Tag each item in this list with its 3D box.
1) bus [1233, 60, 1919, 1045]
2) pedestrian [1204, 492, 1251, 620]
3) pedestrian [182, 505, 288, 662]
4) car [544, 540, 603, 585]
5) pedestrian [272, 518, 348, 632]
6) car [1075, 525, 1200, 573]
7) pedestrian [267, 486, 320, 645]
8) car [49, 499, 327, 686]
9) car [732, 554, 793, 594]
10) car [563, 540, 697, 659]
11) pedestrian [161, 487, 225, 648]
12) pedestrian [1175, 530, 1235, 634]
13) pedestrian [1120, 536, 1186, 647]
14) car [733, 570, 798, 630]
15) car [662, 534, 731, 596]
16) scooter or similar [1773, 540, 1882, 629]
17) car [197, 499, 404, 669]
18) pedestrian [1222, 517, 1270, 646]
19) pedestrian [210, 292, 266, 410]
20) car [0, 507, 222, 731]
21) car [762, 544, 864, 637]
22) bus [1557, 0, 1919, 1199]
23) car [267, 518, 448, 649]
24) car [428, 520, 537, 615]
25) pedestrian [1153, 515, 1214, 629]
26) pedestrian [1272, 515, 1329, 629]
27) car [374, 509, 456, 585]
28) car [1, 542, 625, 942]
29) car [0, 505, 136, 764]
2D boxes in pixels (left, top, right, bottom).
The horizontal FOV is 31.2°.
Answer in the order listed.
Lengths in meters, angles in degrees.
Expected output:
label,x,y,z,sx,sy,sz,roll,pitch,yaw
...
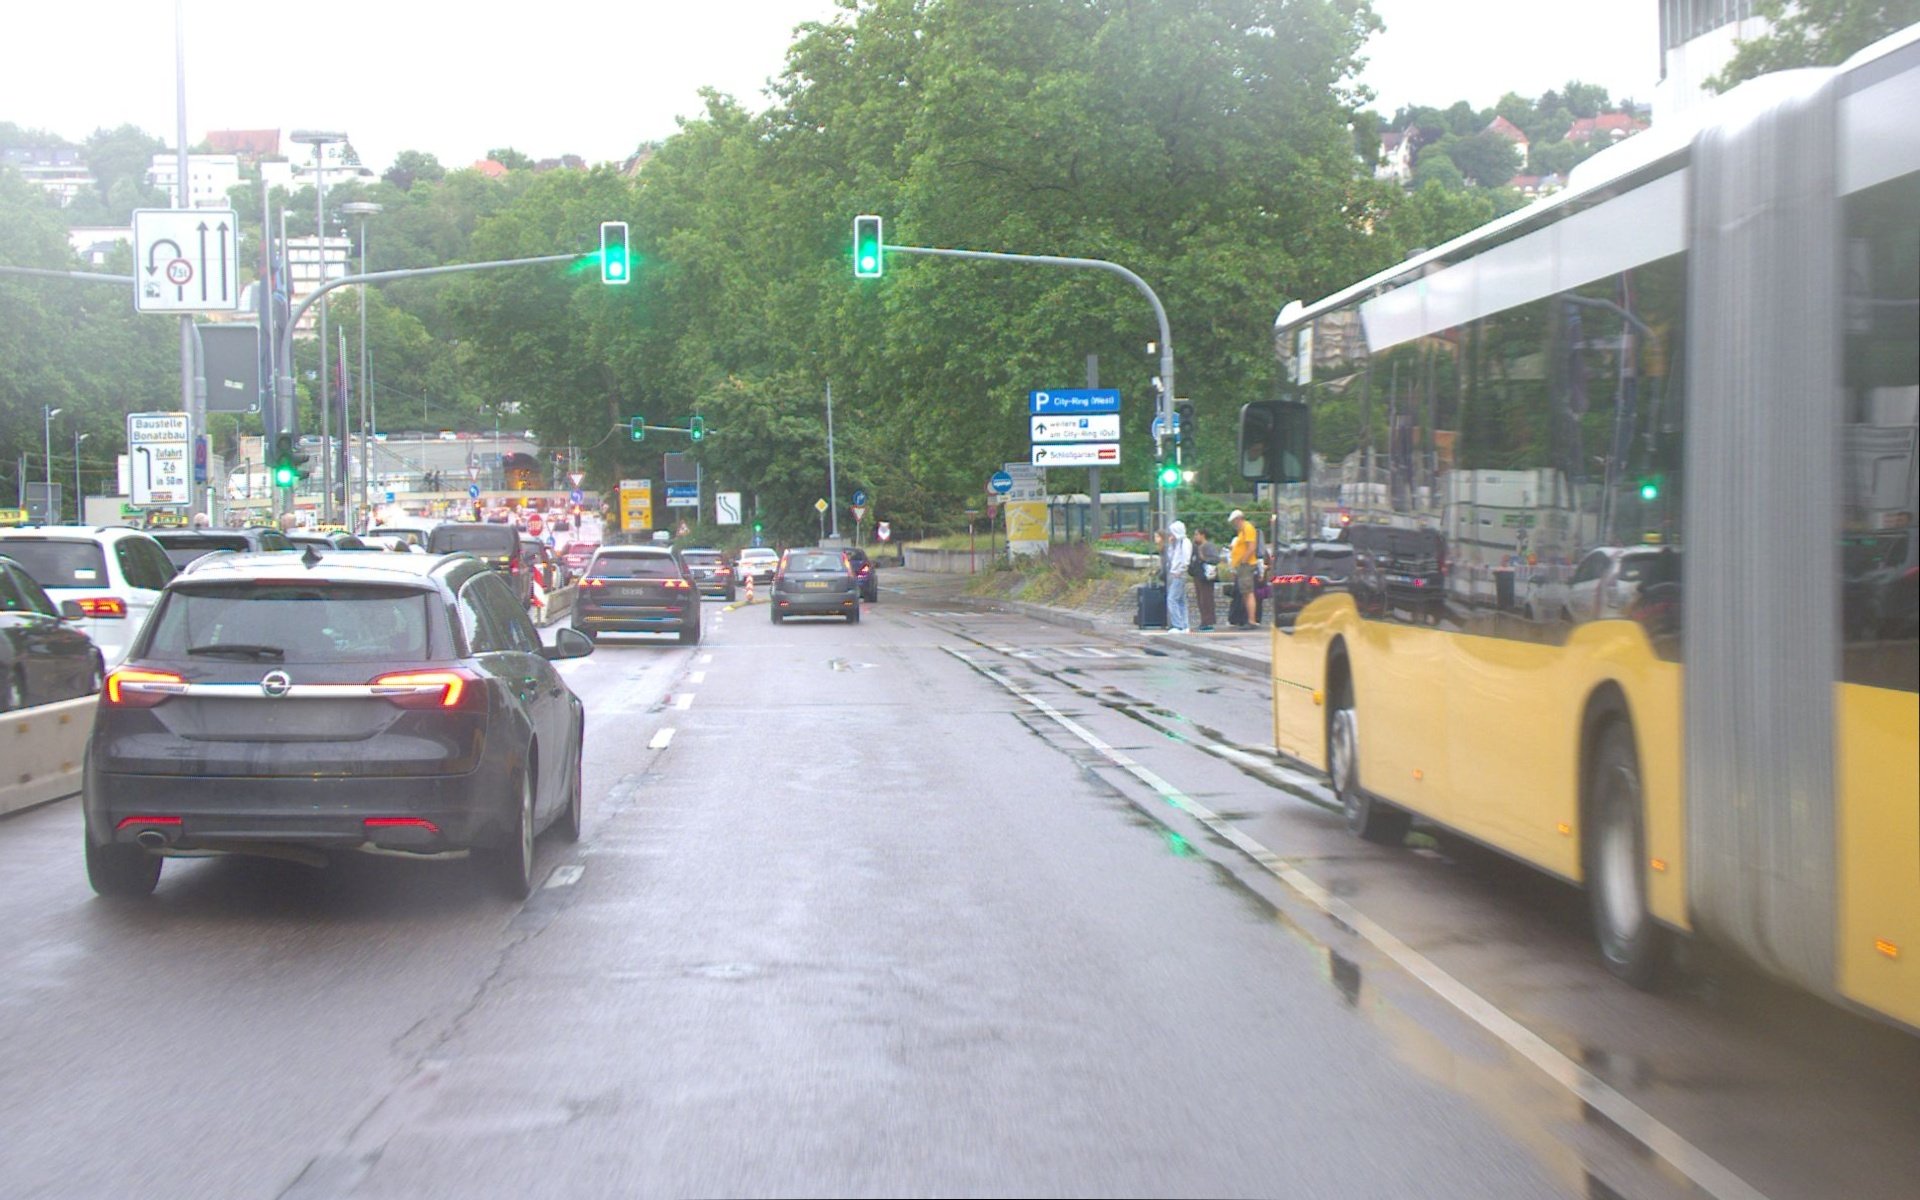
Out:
label,x,y,z,sx,sy,sz,roll,pitch,yaw
bus,3.351,-0.196,15.822,3.113,3.194,9.243,0,1,-2
pedestrian,4.537,-0.753,58.326,0.708,2.138,0.721,-1,1,8
pedestrian,-9.415,-0.229,44.677,0.835,2.007,1.026,0,1,36
car,-15.808,-1.523,140.533,1.993,1.820,4.001,0,1,-12
pedestrian,-10.881,-0.418,57.577,1.005,1.880,0.682,-1,1,21
car,5.656,-1.616,109.520,3.615,1.500,1.730,0,1,37
pedestrian,-8.536,-0.448,44.039,0.527,2.007,0.891,-1,1,-4
car,-7.967,-0.116,35.917,1.993,1.781,4.848,-1,1,-3
car,-7.891,-1.057,137.227,1.813,1.569,4.001,0,1,-12
car,-4.916,-0.044,51.698,1.830,1.680,4.134,-1,1,-4
pedestrian,-9.719,-0.417,43.566,0.621,2.007,0.836,-1,1,-3
pedestrian,4.028,-0.296,56.528,0.875,1.685,0.758,-1,1,-2
pedestrian,3.240,-0.148,57.808,0.786,1.832,0.951,-1,1,-16
car,-5.198,-0.019,92.152,1.674,1.576,3.240,0,1,-2
car,-7.421,-0.984,96.963,1.903,1.711,4.001,0,1,-4
scooter or similar,12.022,-0.218,47.657,1.368,1.227,0.568,1,1,43
car,-7.834,-0.217,41.210,1.713,1.885,4.610,-1,1,-2
pedestrian,4.758,-0.311,57.291,0.554,2.138,0.668,-1,1,-16
pedestrian,-11.576,-3.990,55.119,0.830,1.879,0.691,-1,3,-11
car,-7.790,0.128,29.926,1.993,1.781,4.455,-1,1,-4
car,-2.829,-0.197,65.429,1.851,1.711,4.001,0,1,-4
bus,3.623,-0.132,6.656,3.141,3.236,9.136,0,1,-1
car,-8.255,-0.255,47.482,1.786,1.680,4.667,-1,1,-2
car,-9.549,-0.654,69.066,1.993,1.839,5.063,0,1,-6
pedestrian,3.581,-0.443,55.072,0.745,1.798,0.710,-1,1,-16
pedestrian,5.430,-0.448,54.847,0.539,1.798,0.758,-2,1,-30
car,-14.809,-1.427,93.639,1.993,2.007,5.371,0,1,-7
car,-2.695,0.502,15.503,1.877,1.503,4.852,-1,1,0
car,-7.476,0.210,24.852,2.049,1.705,5.056,-1,1,-3
